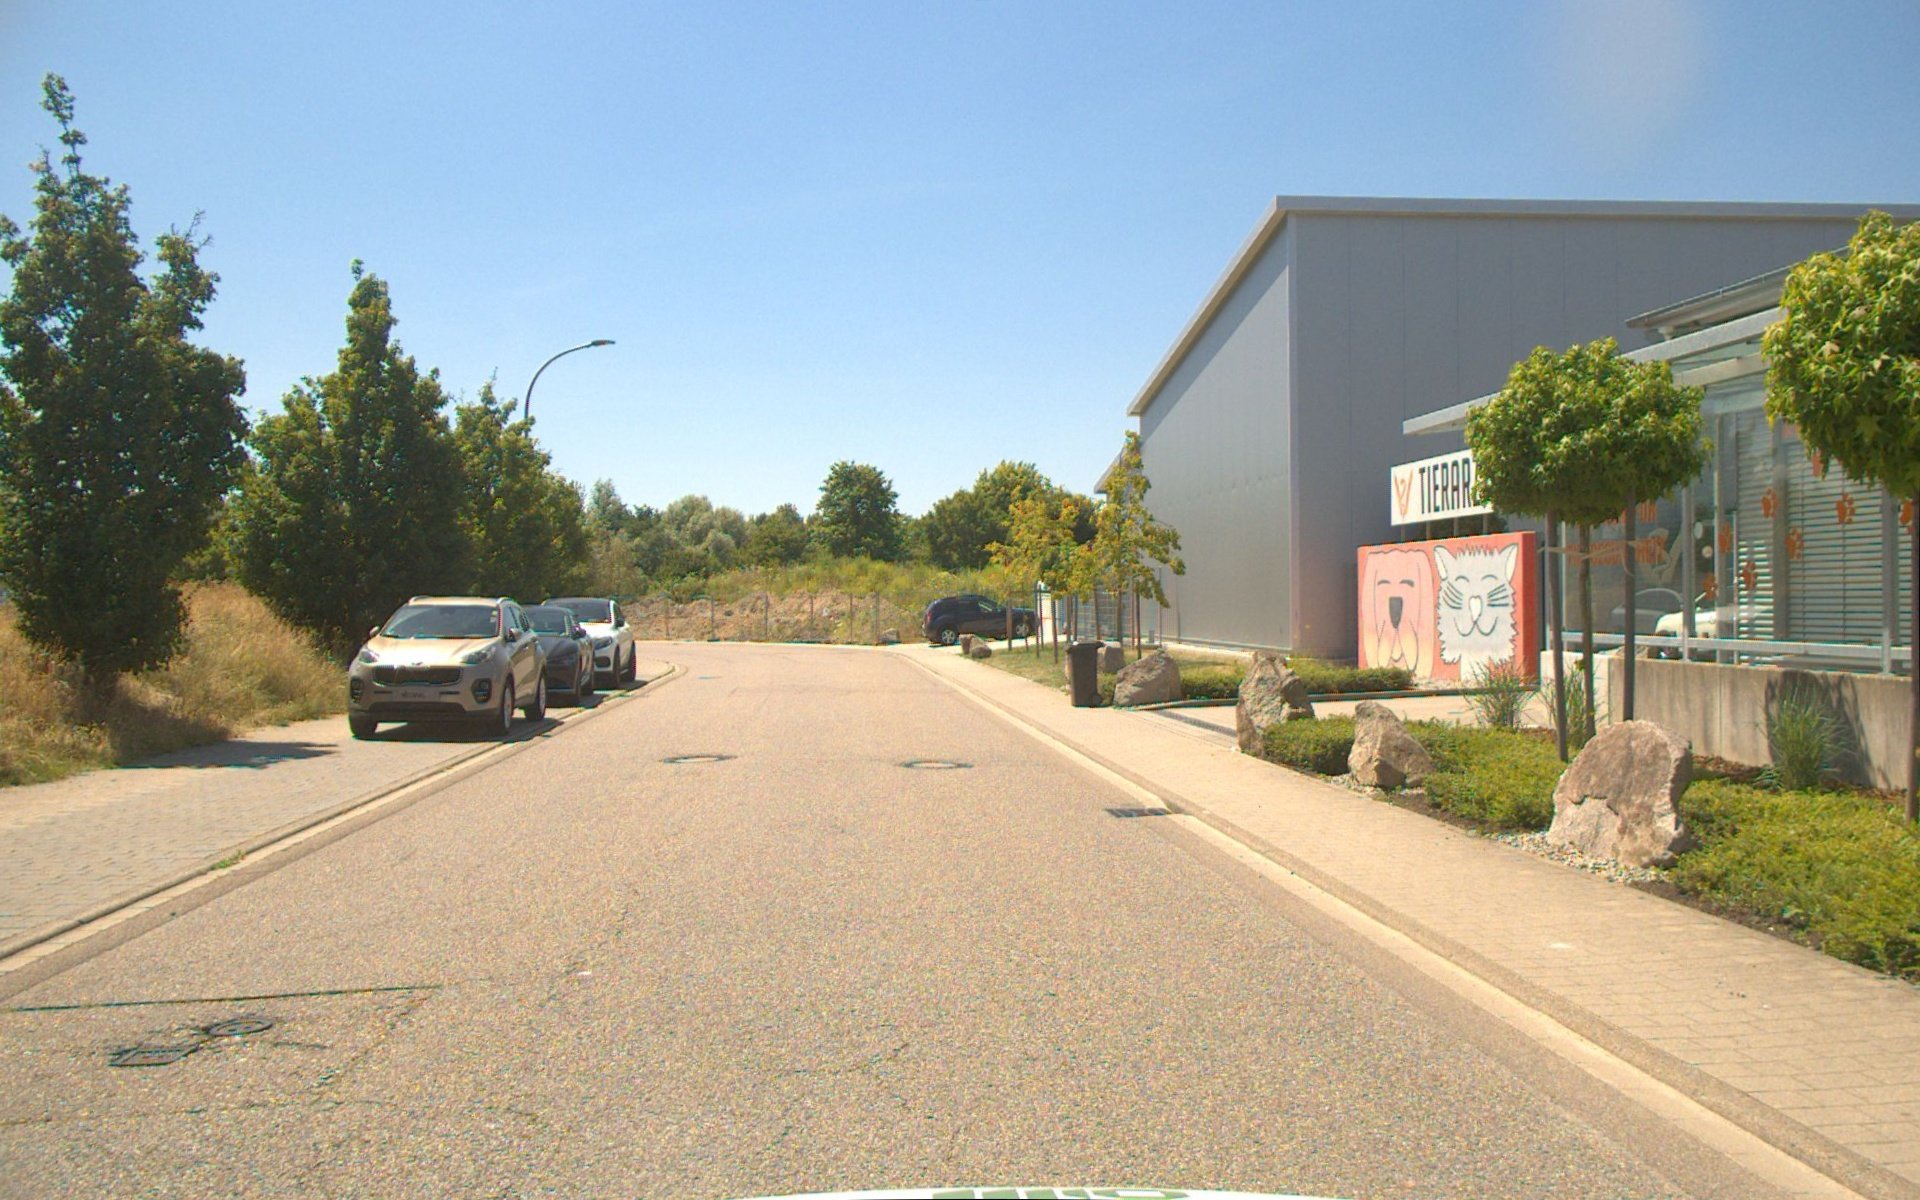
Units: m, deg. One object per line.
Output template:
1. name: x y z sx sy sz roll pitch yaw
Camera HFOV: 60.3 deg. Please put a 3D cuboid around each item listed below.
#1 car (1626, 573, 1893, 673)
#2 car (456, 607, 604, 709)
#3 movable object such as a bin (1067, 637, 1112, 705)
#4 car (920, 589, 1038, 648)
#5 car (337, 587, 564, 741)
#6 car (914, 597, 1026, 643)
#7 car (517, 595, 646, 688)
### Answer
1. car: 13.436 0.394 28.133 1.957 1.569 4.341 0 -1 -9
2. car: -7.098 0.904 27.699 1.876 1.518 4.405 1 0 -8
3. movable object such as a bin: 1.903 1.041 24.323 0.548 0.963 0.539 -2 0 -7
4. car: 0.646 0.648 59.156 3.934 1.683 1.855 -5 0 -6
5. car: -6.355 0.732 21.127 1.875 1.743 4.408 1 0 -5
6. car: 0.343 0.739 61.808 3.933 1.487 1.890 -3 0 -6
7. car: -7.523 0.770 33.320 1.875 1.684 4.749 -1 0 -5
